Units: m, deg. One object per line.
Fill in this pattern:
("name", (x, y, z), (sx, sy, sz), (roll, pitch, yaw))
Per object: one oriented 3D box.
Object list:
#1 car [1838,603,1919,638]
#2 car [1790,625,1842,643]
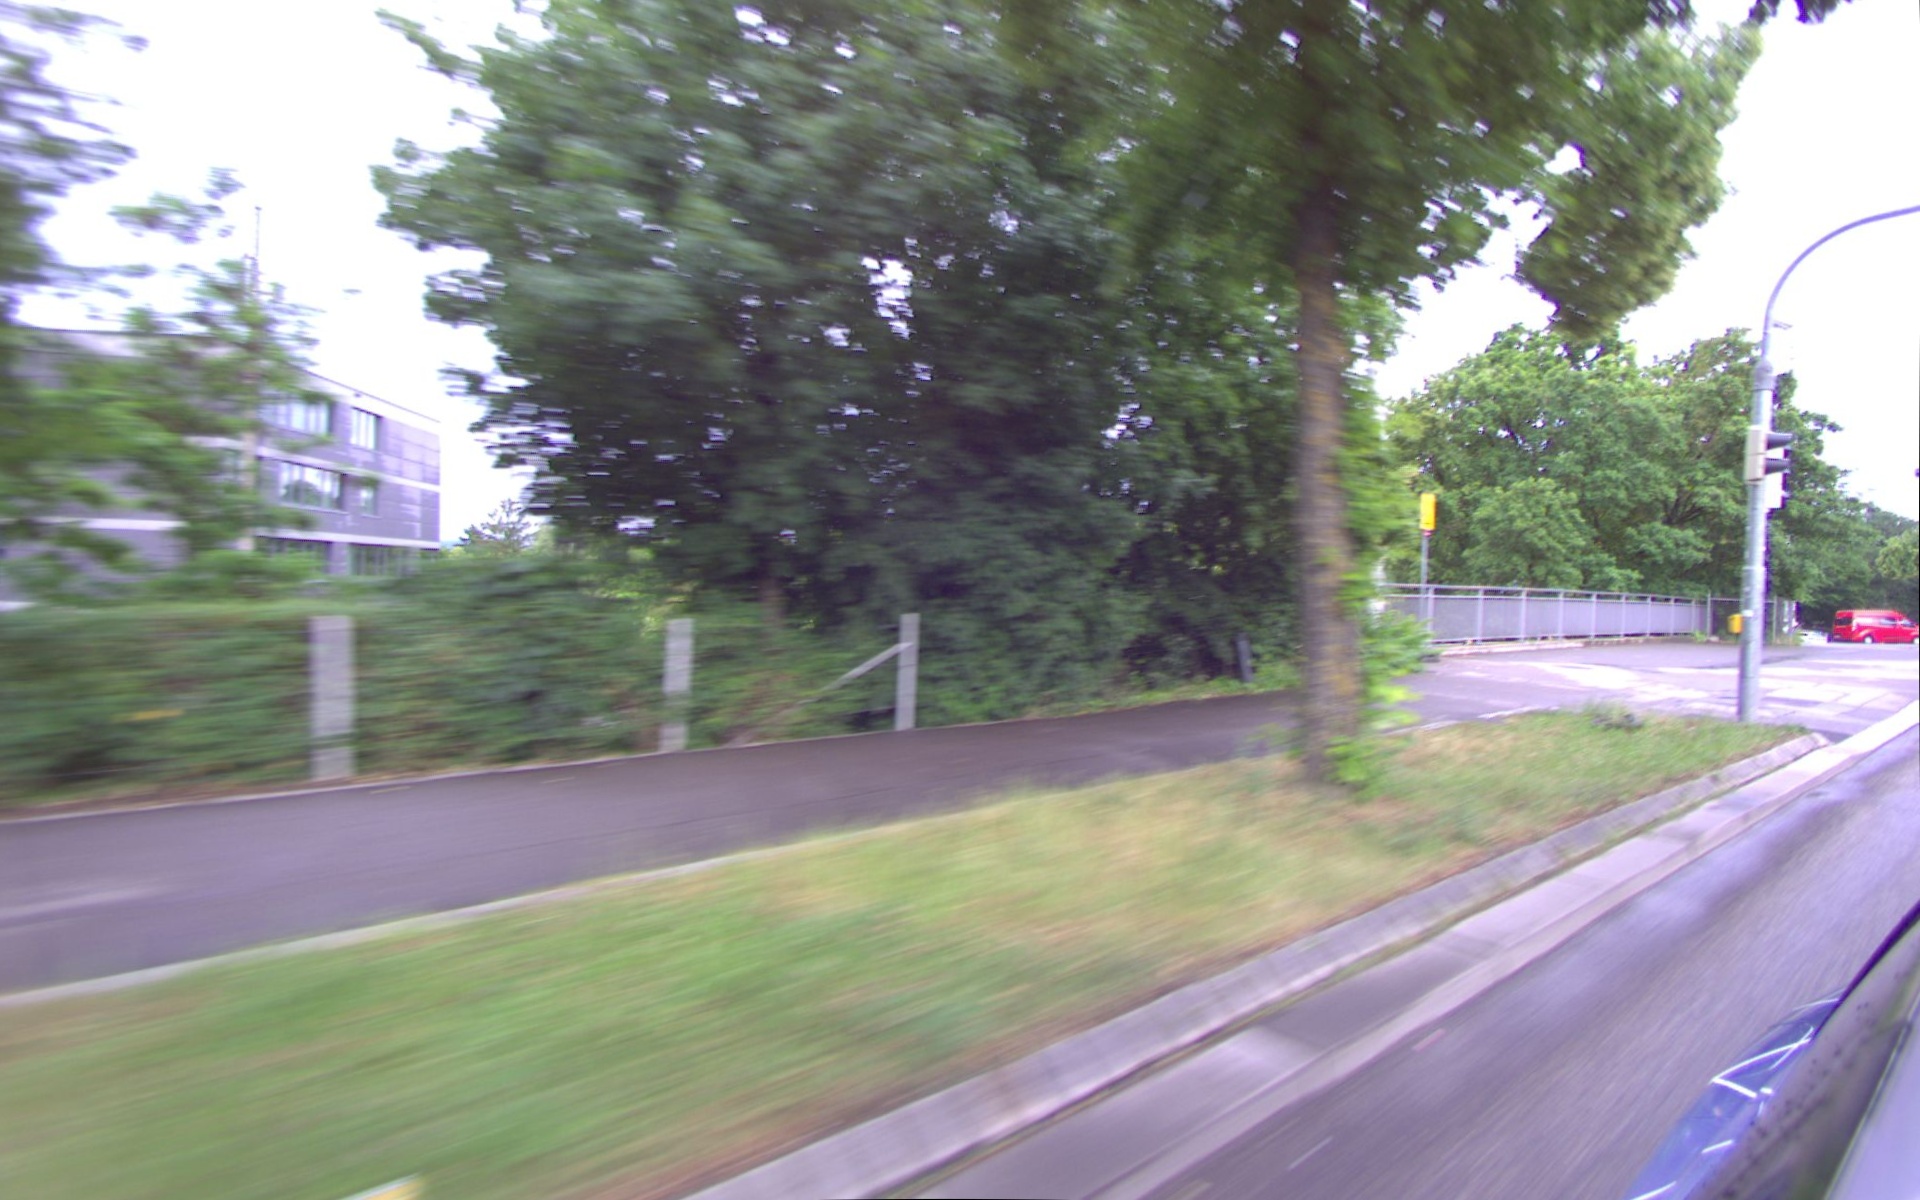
("car", (61.664, 1.330, 67.158), (4.937, 2.220, 1.999), (1, 0, 2))
("car", (83.110, 3.269, 98.310), (1.855, 1.533, 3.801), (1, 1, 3))
